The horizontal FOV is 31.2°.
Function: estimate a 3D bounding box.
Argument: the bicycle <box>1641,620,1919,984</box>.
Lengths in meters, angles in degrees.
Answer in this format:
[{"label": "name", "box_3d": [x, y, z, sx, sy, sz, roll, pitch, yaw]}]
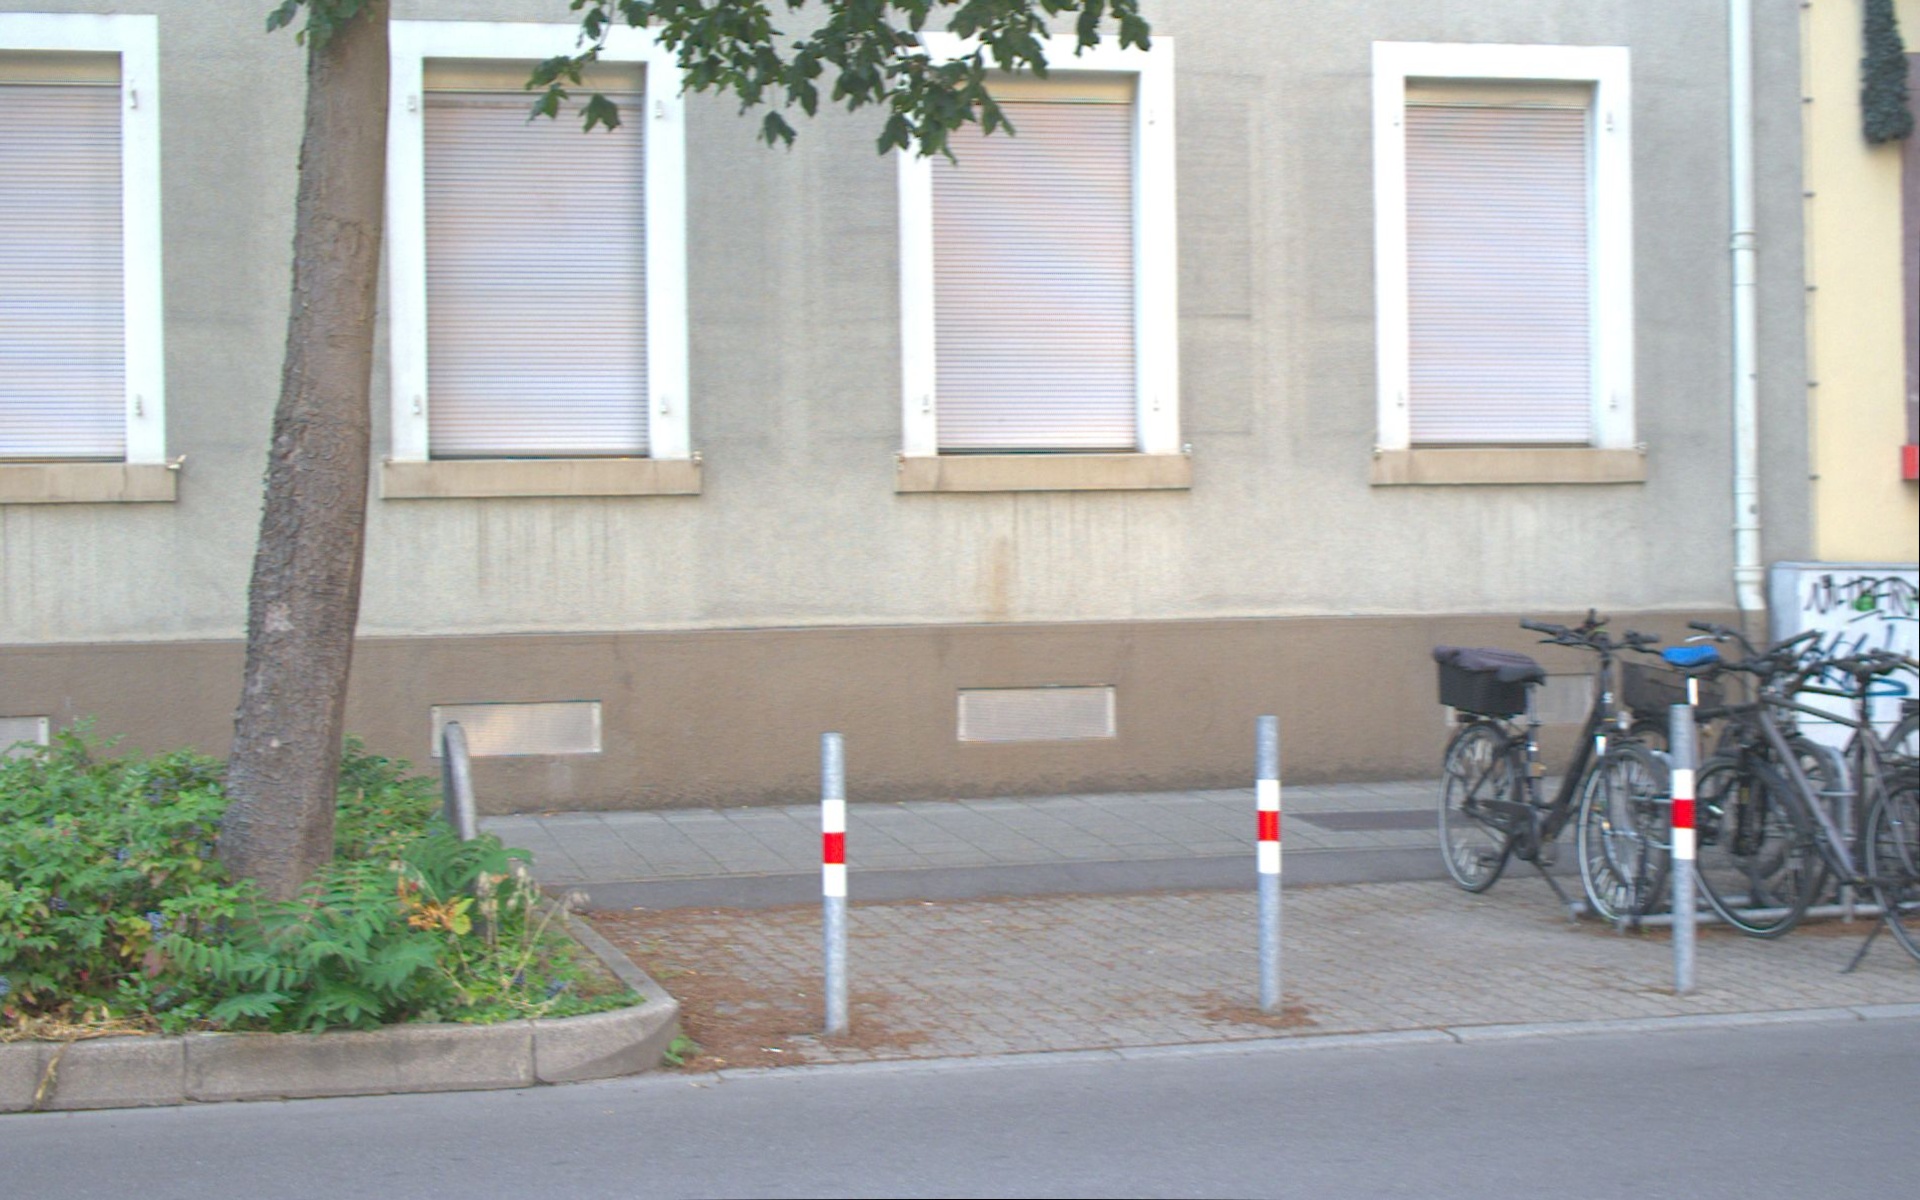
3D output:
[{"label": "bicycle", "box_3d": [3.086, 0.671, 12.366, 0.445, 1.141, 2.043, -1, 1, -13]}]

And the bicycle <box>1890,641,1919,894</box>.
[{"label": "bicycle", "box_3d": [4.230, 0.683, 12.992, 0.420, 1.000, 2.043, -1, 1, -14]}]

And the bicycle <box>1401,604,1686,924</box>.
[{"label": "bicycle", "box_3d": [2.299, 0.609, 13.778, 0.445, 1.141, 2.043, -1, 1, -10]}]

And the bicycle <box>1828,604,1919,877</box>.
[{"label": "bicycle", "box_3d": [4.346, 0.610, 14.444, 0.420, 1.141, 2.043, -1, 1, -14]}]

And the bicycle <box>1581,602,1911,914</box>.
[{"label": "bicycle", "box_3d": [3.177, 0.599, 14.093, 0.420, 1.141, 2.043, -1, 1, -14]}]
